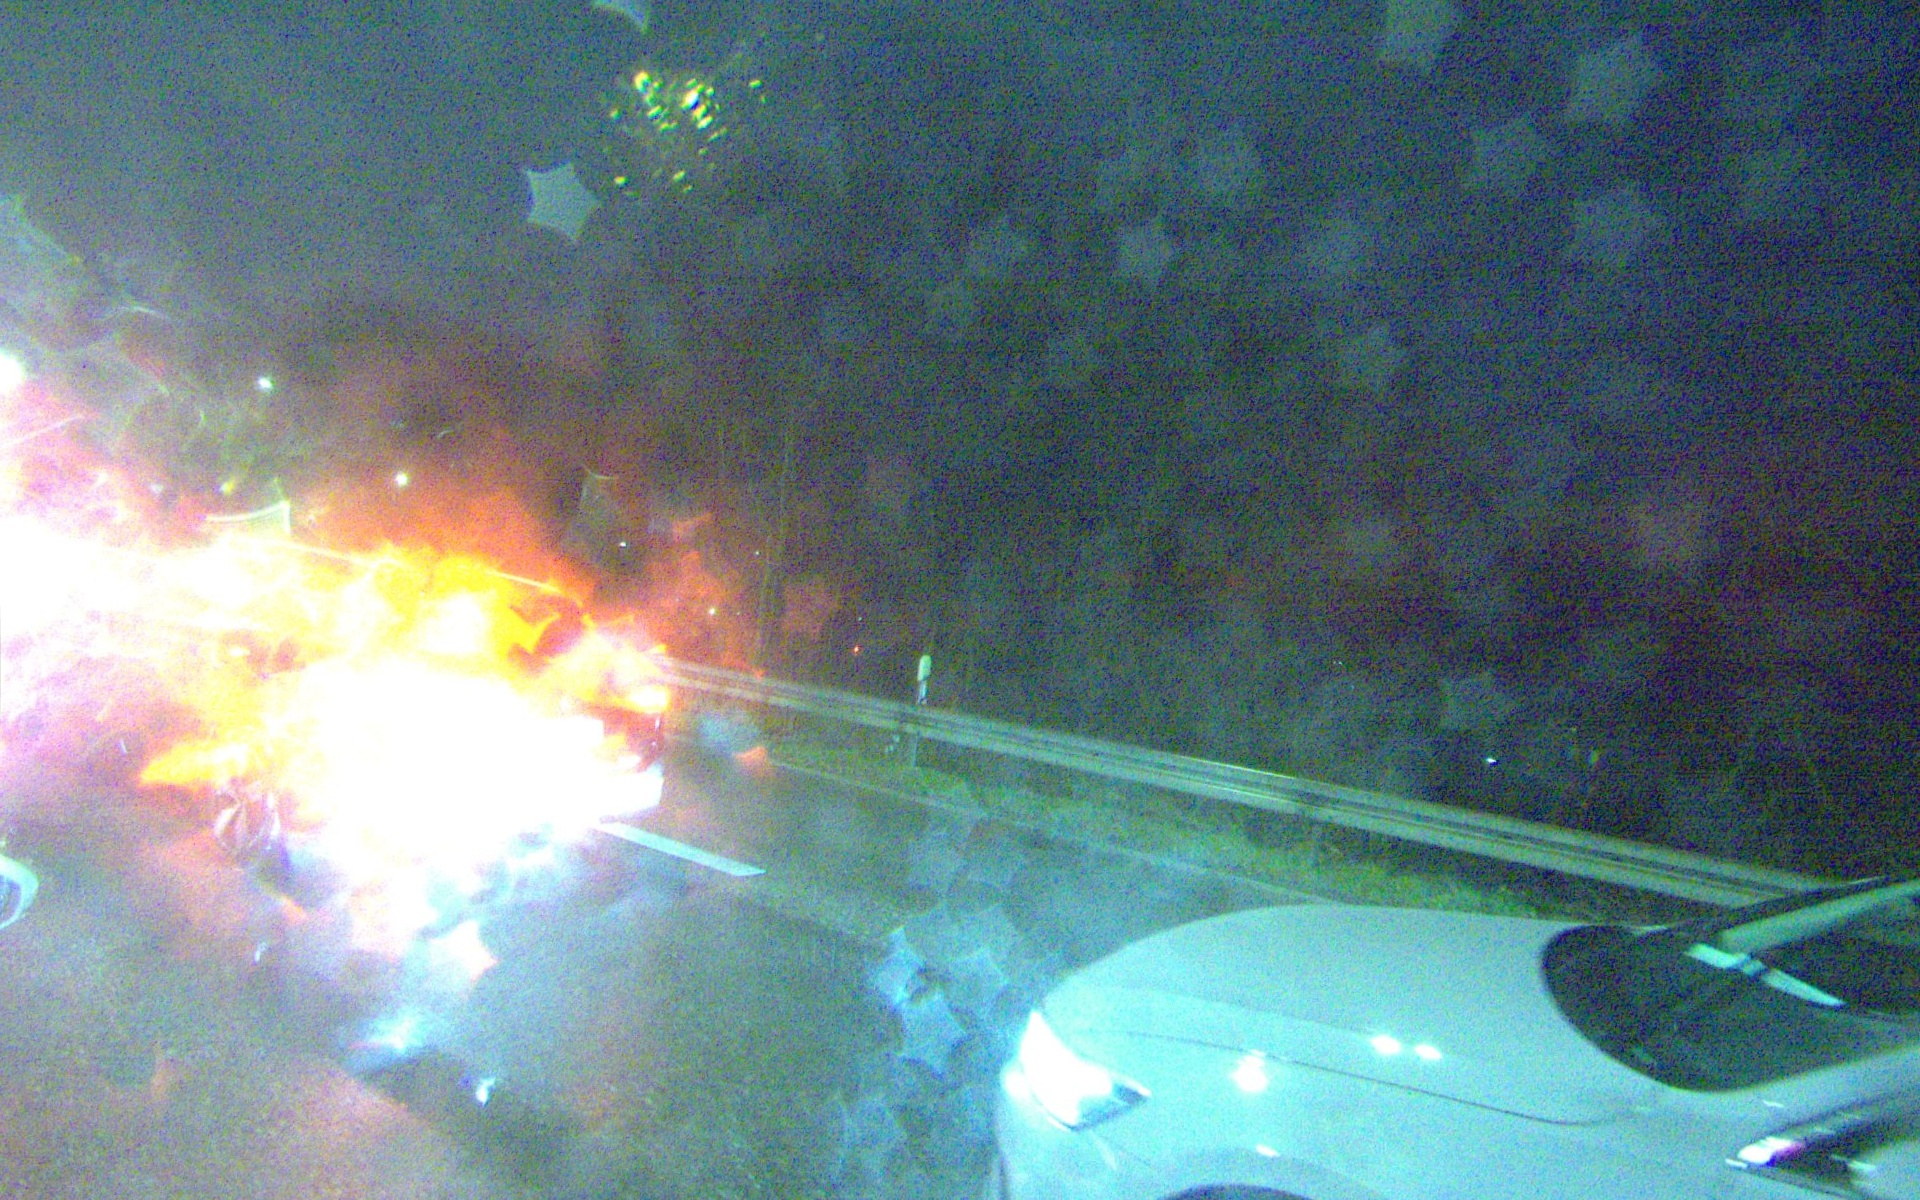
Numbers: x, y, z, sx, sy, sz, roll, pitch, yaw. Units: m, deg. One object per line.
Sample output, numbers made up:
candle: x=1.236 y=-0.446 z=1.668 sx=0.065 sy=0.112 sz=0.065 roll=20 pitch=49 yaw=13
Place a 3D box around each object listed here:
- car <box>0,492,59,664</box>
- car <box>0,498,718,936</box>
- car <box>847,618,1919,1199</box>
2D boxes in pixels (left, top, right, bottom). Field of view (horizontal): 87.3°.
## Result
car: x=-10.618 y=-0.429 z=9.628 sx=3.893 sy=1.539 sz=1.681 roll=6 pitch=-2 yaw=29
car: x=-3.688 y=0.422 z=5.711 sx=4.484 sy=1.522 sz=1.677 roll=6 pitch=-4 yaw=32
car: x=2.085 y=1.076 z=1.575 sx=4.342 sy=1.539 sz=1.710 roll=6 pitch=-2 yaw=32
